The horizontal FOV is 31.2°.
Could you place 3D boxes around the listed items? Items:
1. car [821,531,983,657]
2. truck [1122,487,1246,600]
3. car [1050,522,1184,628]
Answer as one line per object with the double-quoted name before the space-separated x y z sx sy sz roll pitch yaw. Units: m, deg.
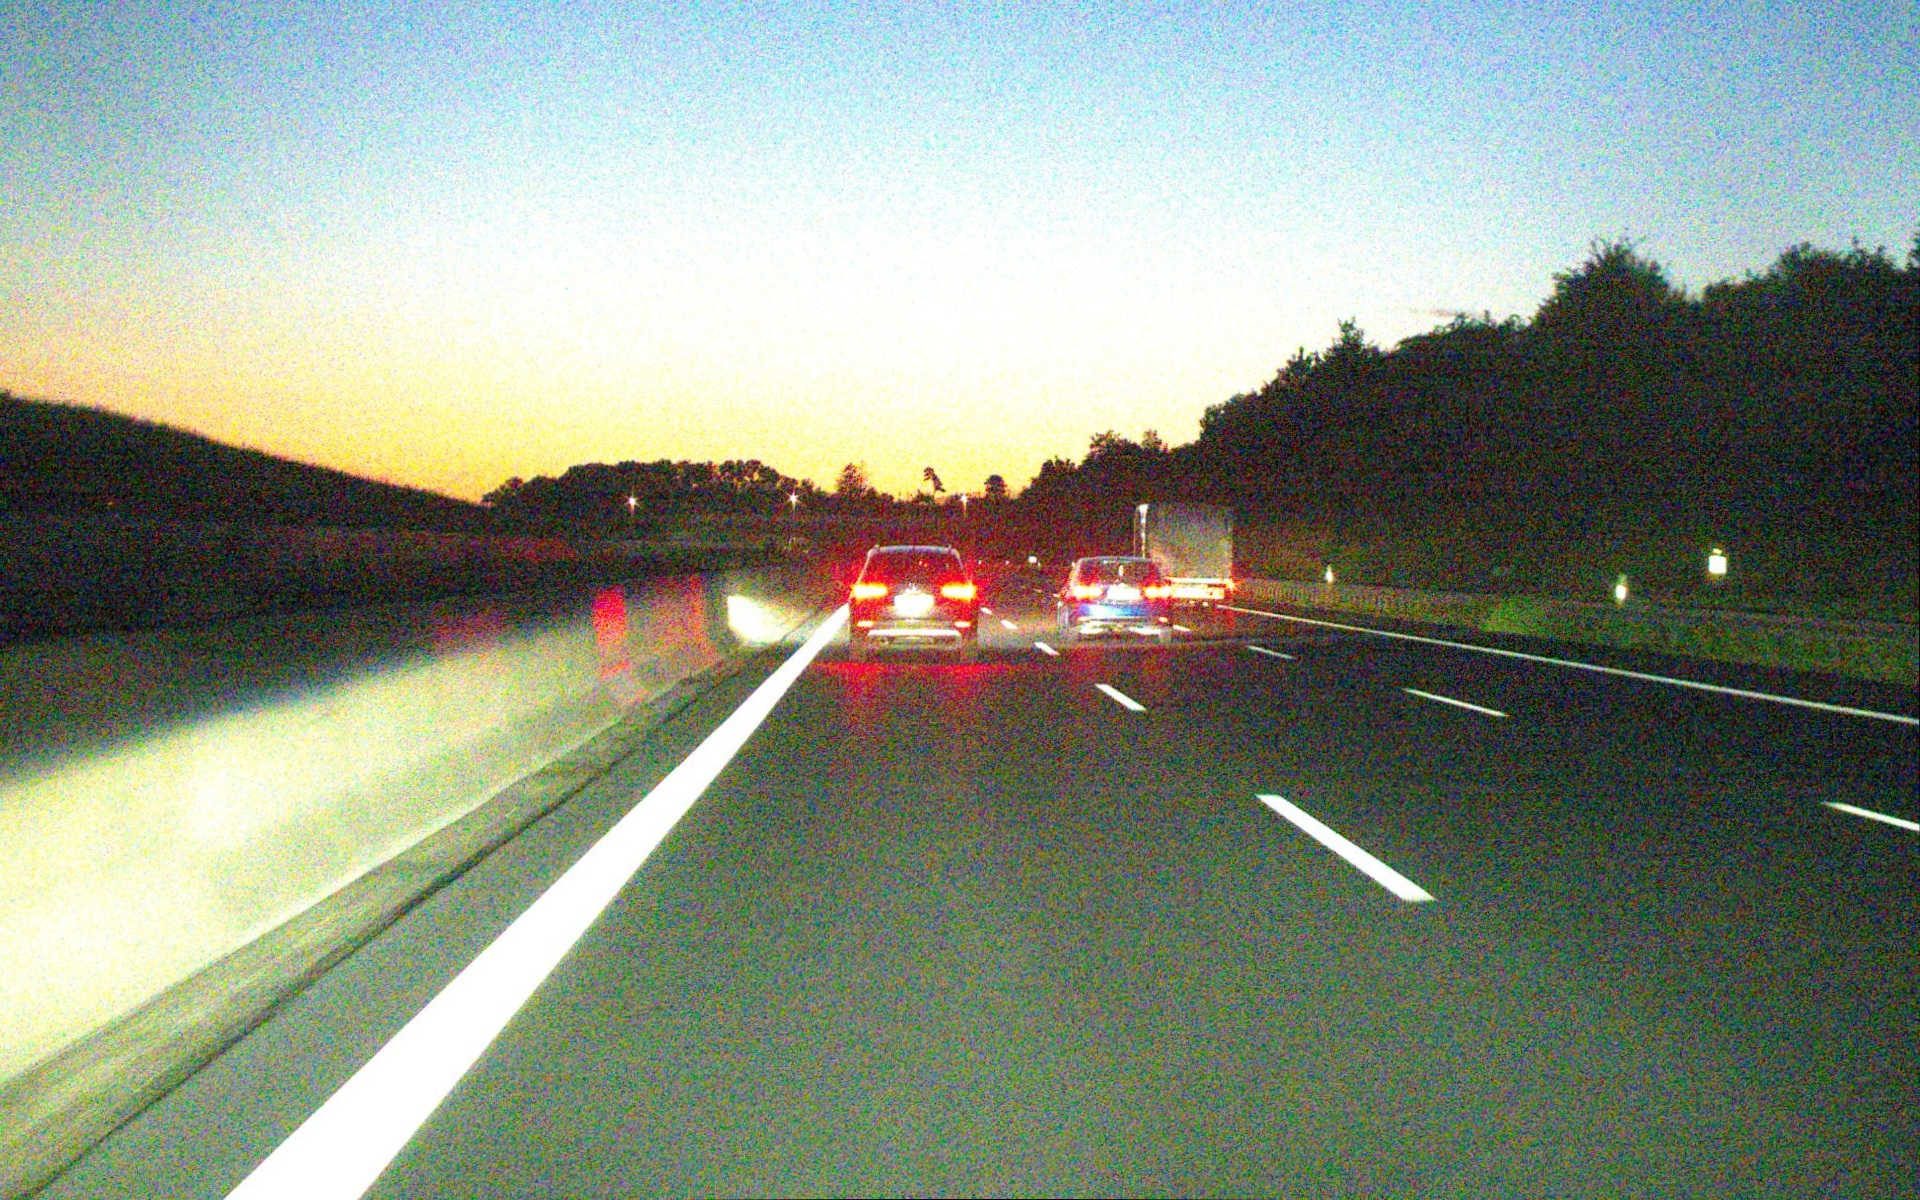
"car" -0.859 -0.112 47.971 2.105 1.612 4.205 2 1 -2
"truck" 6.307 -1.623 97.872 2.603 2.865 7.486 5 1 -2
"car" 2.668 -0.443 59.168 1.911 1.724 4.000 1 1 -3
